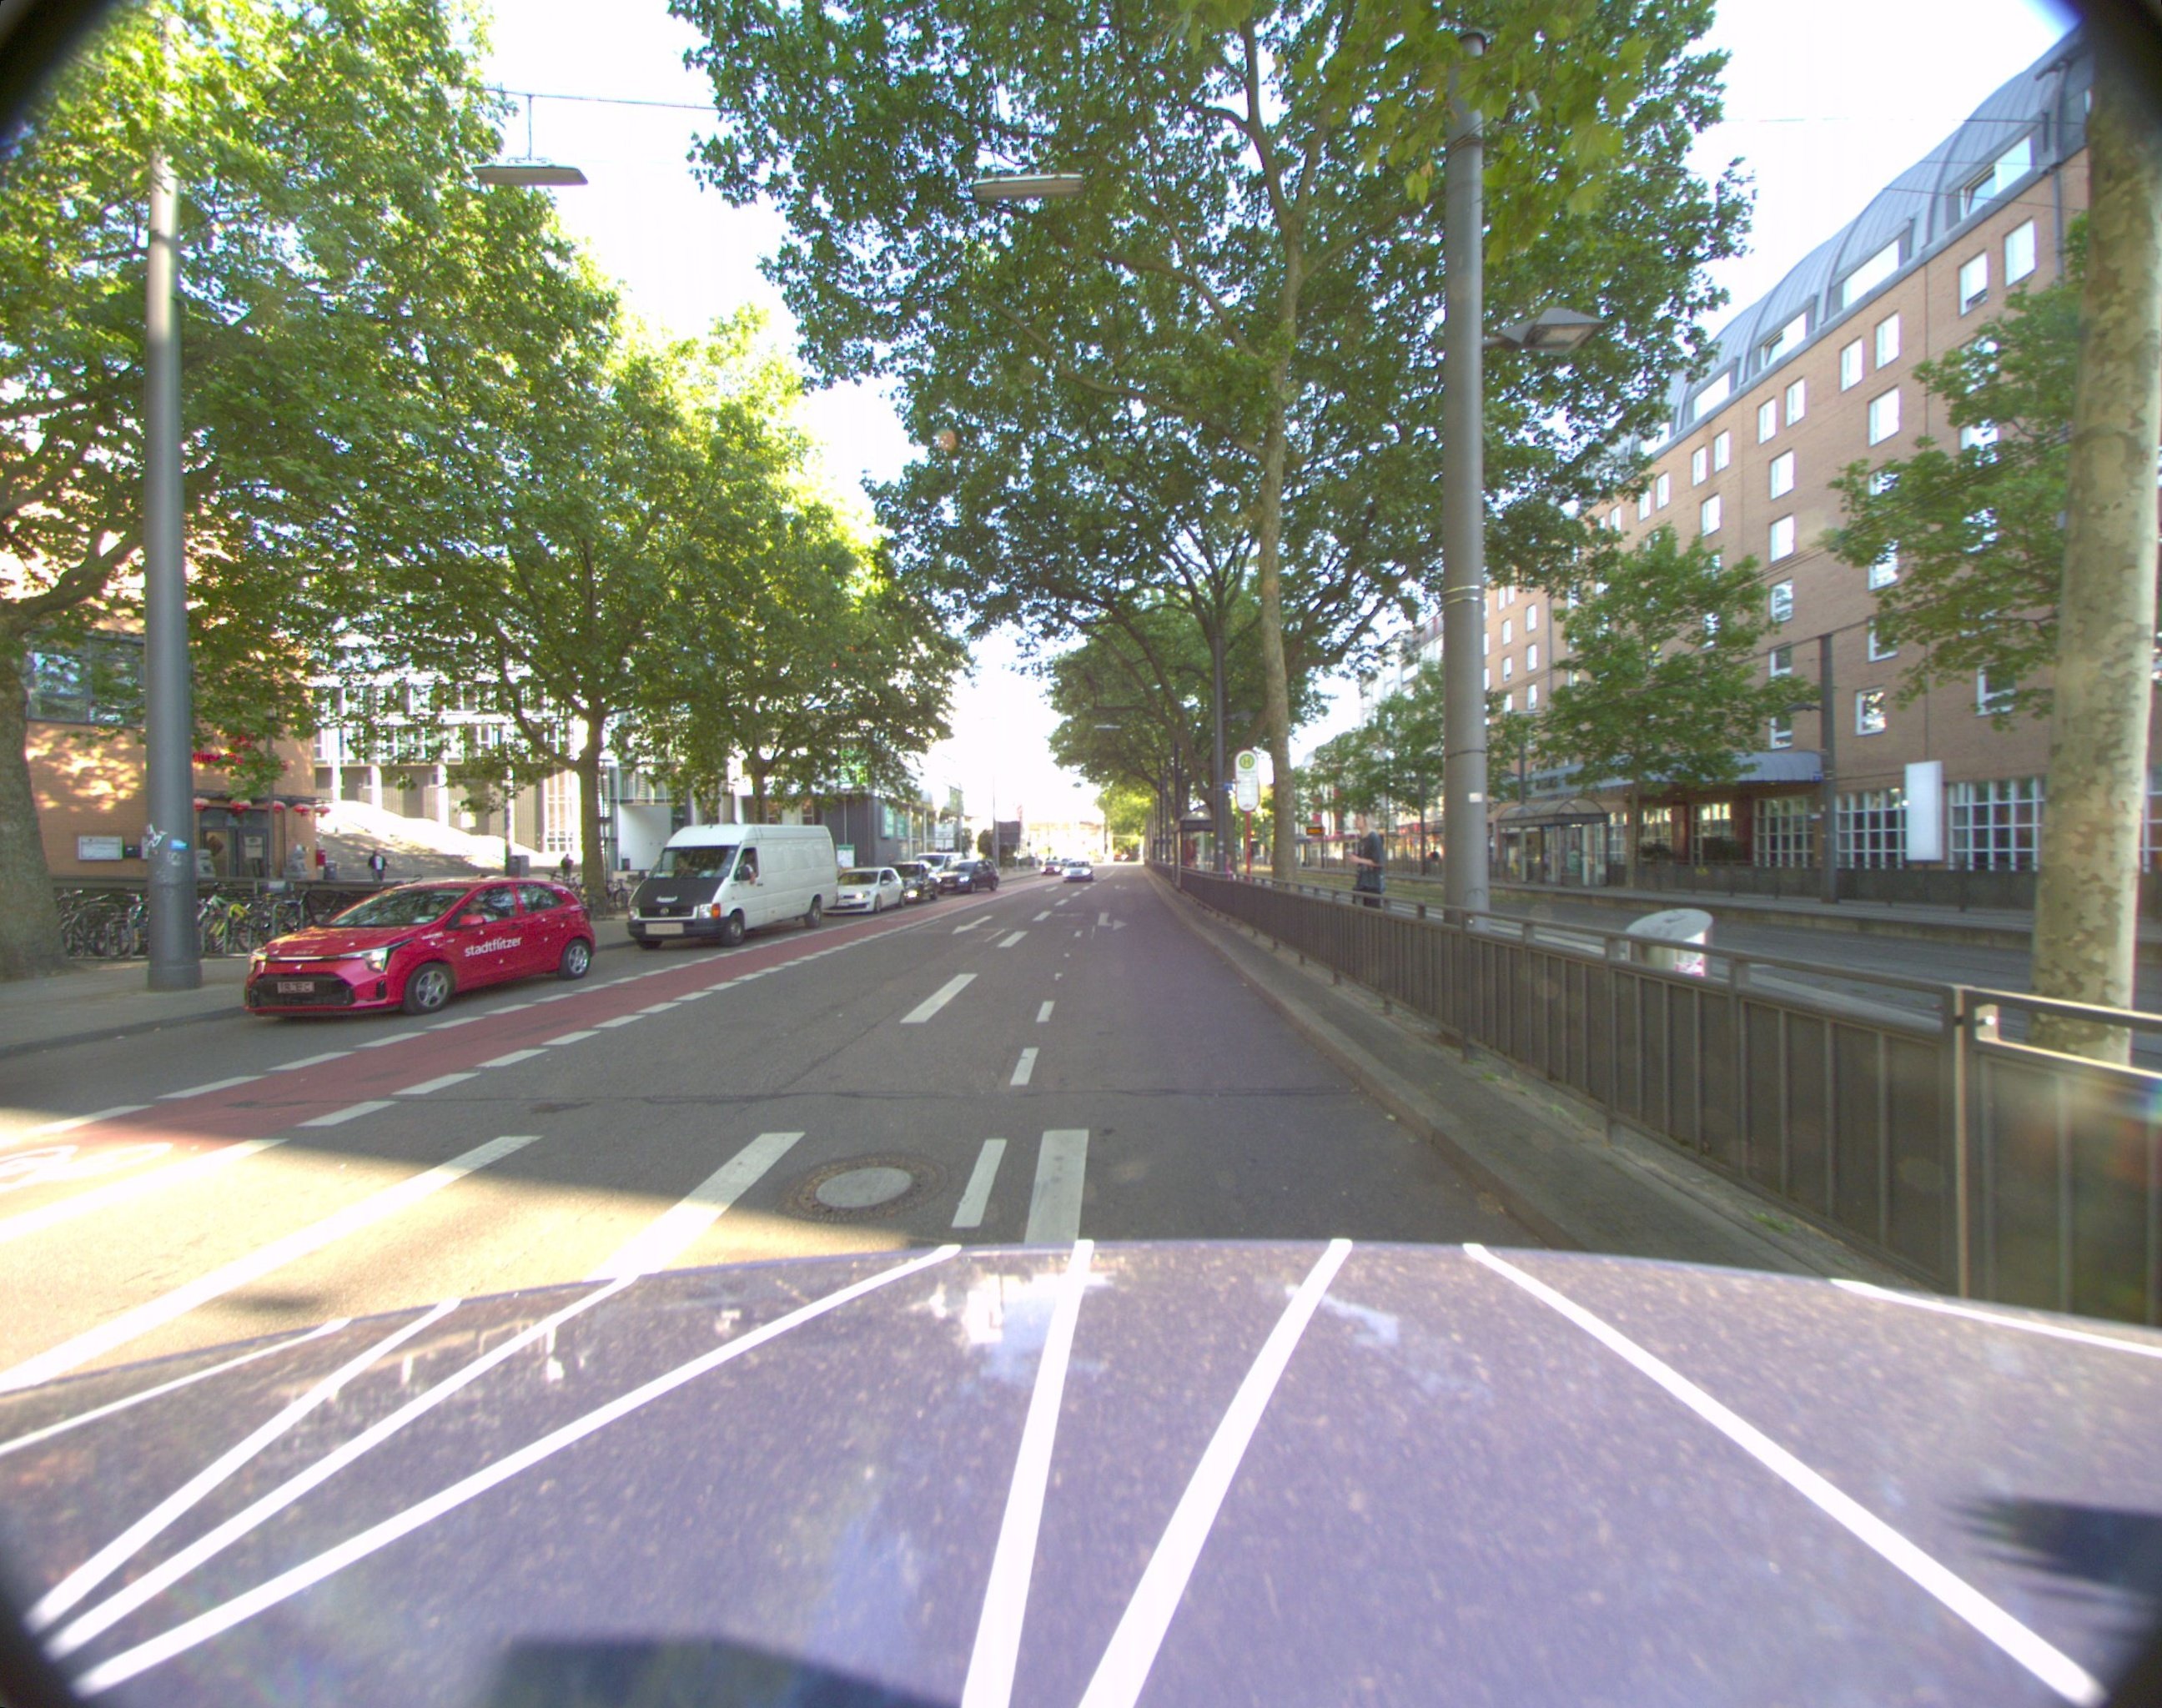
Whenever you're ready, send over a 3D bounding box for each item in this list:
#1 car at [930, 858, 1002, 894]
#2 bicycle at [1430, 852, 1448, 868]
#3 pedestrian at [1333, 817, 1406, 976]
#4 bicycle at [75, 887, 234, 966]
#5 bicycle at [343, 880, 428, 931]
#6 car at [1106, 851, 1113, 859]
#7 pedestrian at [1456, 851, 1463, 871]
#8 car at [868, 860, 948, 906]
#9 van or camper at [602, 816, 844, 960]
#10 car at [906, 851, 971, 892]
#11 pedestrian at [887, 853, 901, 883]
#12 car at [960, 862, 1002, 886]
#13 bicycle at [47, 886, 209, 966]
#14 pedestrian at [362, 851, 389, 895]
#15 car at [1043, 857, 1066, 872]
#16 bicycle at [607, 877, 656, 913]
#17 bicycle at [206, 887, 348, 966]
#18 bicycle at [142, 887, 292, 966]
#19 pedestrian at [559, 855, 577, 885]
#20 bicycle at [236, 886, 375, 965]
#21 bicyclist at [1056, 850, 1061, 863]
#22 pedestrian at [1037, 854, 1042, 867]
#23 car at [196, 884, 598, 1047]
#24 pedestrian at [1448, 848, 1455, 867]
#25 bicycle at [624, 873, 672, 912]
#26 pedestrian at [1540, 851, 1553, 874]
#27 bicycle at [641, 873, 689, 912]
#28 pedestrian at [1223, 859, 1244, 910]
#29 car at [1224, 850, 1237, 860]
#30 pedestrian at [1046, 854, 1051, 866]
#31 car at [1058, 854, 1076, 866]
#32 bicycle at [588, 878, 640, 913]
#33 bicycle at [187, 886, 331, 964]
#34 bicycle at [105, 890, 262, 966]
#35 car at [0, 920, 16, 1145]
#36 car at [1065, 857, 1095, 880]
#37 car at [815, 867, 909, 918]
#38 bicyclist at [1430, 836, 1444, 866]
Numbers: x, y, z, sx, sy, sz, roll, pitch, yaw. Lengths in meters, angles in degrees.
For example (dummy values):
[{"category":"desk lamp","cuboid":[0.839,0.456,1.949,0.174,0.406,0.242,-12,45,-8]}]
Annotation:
[{"category":"car","cuboid":[-5.533,1.018,37.105,1.964,1.610,4.335,-1,0,14]},{"category":"bicycle","cuboid":[22.795,0.377,48.419,0.451,0.998,1.753,0,0,6]},{"category":"pedestrian","cuboid":[3.541,0.495,9.347,0.623,1.873,0.606,-2,3,-9]},{"category":"bicycle","cuboid":[-15.925,1.204,13.140,0.458,1.187,1.850,0,0,1]},{"category":"bicycle","cuboid":[-17.883,1.288,19.596,0.517,1.187,1.790,0,0,1]},{"category":"car","cuboid":[7.749,0.231,206.950,1.998,2.002,4.001,0,0,4]},{"category":"pedestrian","cuboid":[30.026,0.551,60.241,0.438,1.511,0.659,0,1,23]},{"category":"car","cuboid":[-6.721,1.087,29.974,1.818,1.610,4.229,-1,0,5]},{"category":"van or camper","cuboid":[-7.511,0.618,17.065,1.998,2.563,6.575,-2,0,3]},{"category":"car","cuboid":[-7.478,0.864,40.499,1.965,1.983,4.960,-1,0,7]},{"category":"pedestrian","cuboid":[-11.107,0.839,45.129,0.715,1.758,0.526,-1,1,2]},{"category":"car","cuboid":[-6.007,1.180,46.155,1.801,1.369,4.001,0,0,3]},{"category":"bicycle","cuboid":[-16.388,1.199,13.143,0.435,1.187,1.850,0,0,1]},{"category":"pedestrian","cuboid":[-32.602,0.871,35.111,0.878,2.025,0.584,-1,1,-43]},{"category":"car","cuboid":[-2.518,1.012,72.410,1.801,1.369,4.001,0,0,3]},{"category":"bicycle","cuboid":[-14.660,1.317,24.823,0.522,1.088,1.797,0,0,1]},{"category":"bicycle","cuboid":[-13.821,1.206,13.139,0.448,1.187,1.850,0,0,1]},{"category":"bicycle","cuboid":[-14.843,1.200,13.129,0.447,1.187,1.850,0,0,1]},{"category":"pedestrian","cuboid":[-26.121,0.808,38.686,0.719,1.549,0.639,-1,1,-35]},{"category":"bicycle","cuboid":[-13.318,1.195,13.133,0.482,1.187,1.850,0,0,1]},{"category":"bicyclist","cuboid":[-2.949,0.386,100.671,0.673,1.707,0.715,-1,1,1]},{"category":"pedestrian","cuboid":[-5.160,0.788,93.850,0.611,1.644,0.583,-1,1,1]},{"category":"car","cuboid":[-7.947,1.179,9.365,1.606,1.449,3.651,-1,0,0]},{"category":"pedestrian","cuboid":[29.488,0.254,60.487,0.438,1.497,0.659,0,1,23]},{"category":"bicycle","cuboid":[-14.116,1.237,24.824,0.495,1.187,1.850,0,0,1]},{"category":"pedestrian","cuboid":[29.921,0.547,48.846,0.519,1.427,0.516,0,1,4]},{"category":"bicycle","cuboid":[-13.573,1.241,24.845,0.522,1.187,1.850,0,0,1]},{"category":"pedestrian","cuboid":[3.931,0.780,19.628,0.500,1.308,0.419,0,1,8]},{"category":"car","cuboid":[30.011,0.214,152.698,1.998,2.002,4.000,-1,0,1]},{"category":"pedestrian","cuboid":[-4.189,0.783,98.728,0.648,1.644,0.643,-1,1,1]},{"category":"car","cuboid":[-1.627,0.707,90.634,1.801,1.438,4.001,0,0,3]},{"category":"bicycle","cuboid":[-15.221,1.339,24.798,0.516,1.027,1.850,0,0,1]},{"category":"bicycle","cuboid":[-14.327,1.201,13.329,0.484,1.187,1.850,0,0,1]},{"category":"bicycle","cuboid":[-15.426,1.237,13.138,0.485,1.118,1.850,0,0,1]},{"category":"car","cuboid":[-7.996,1.189,2.931,1.743,1.476,4.251,-1,0,0]},{"category":"car","cuboid":[-0.023,0.930,50.476,1.733,1.432,4.000,-2,0,2]},{"category":"car","cuboid":[-7.055,1.190,24.904,1.682,1.420,4.001,-1,0,3]},{"category":"bicyclist","cuboid":[22.721,-0.202,48.467,0.572,1.893,0.813,0,1,6]}]
